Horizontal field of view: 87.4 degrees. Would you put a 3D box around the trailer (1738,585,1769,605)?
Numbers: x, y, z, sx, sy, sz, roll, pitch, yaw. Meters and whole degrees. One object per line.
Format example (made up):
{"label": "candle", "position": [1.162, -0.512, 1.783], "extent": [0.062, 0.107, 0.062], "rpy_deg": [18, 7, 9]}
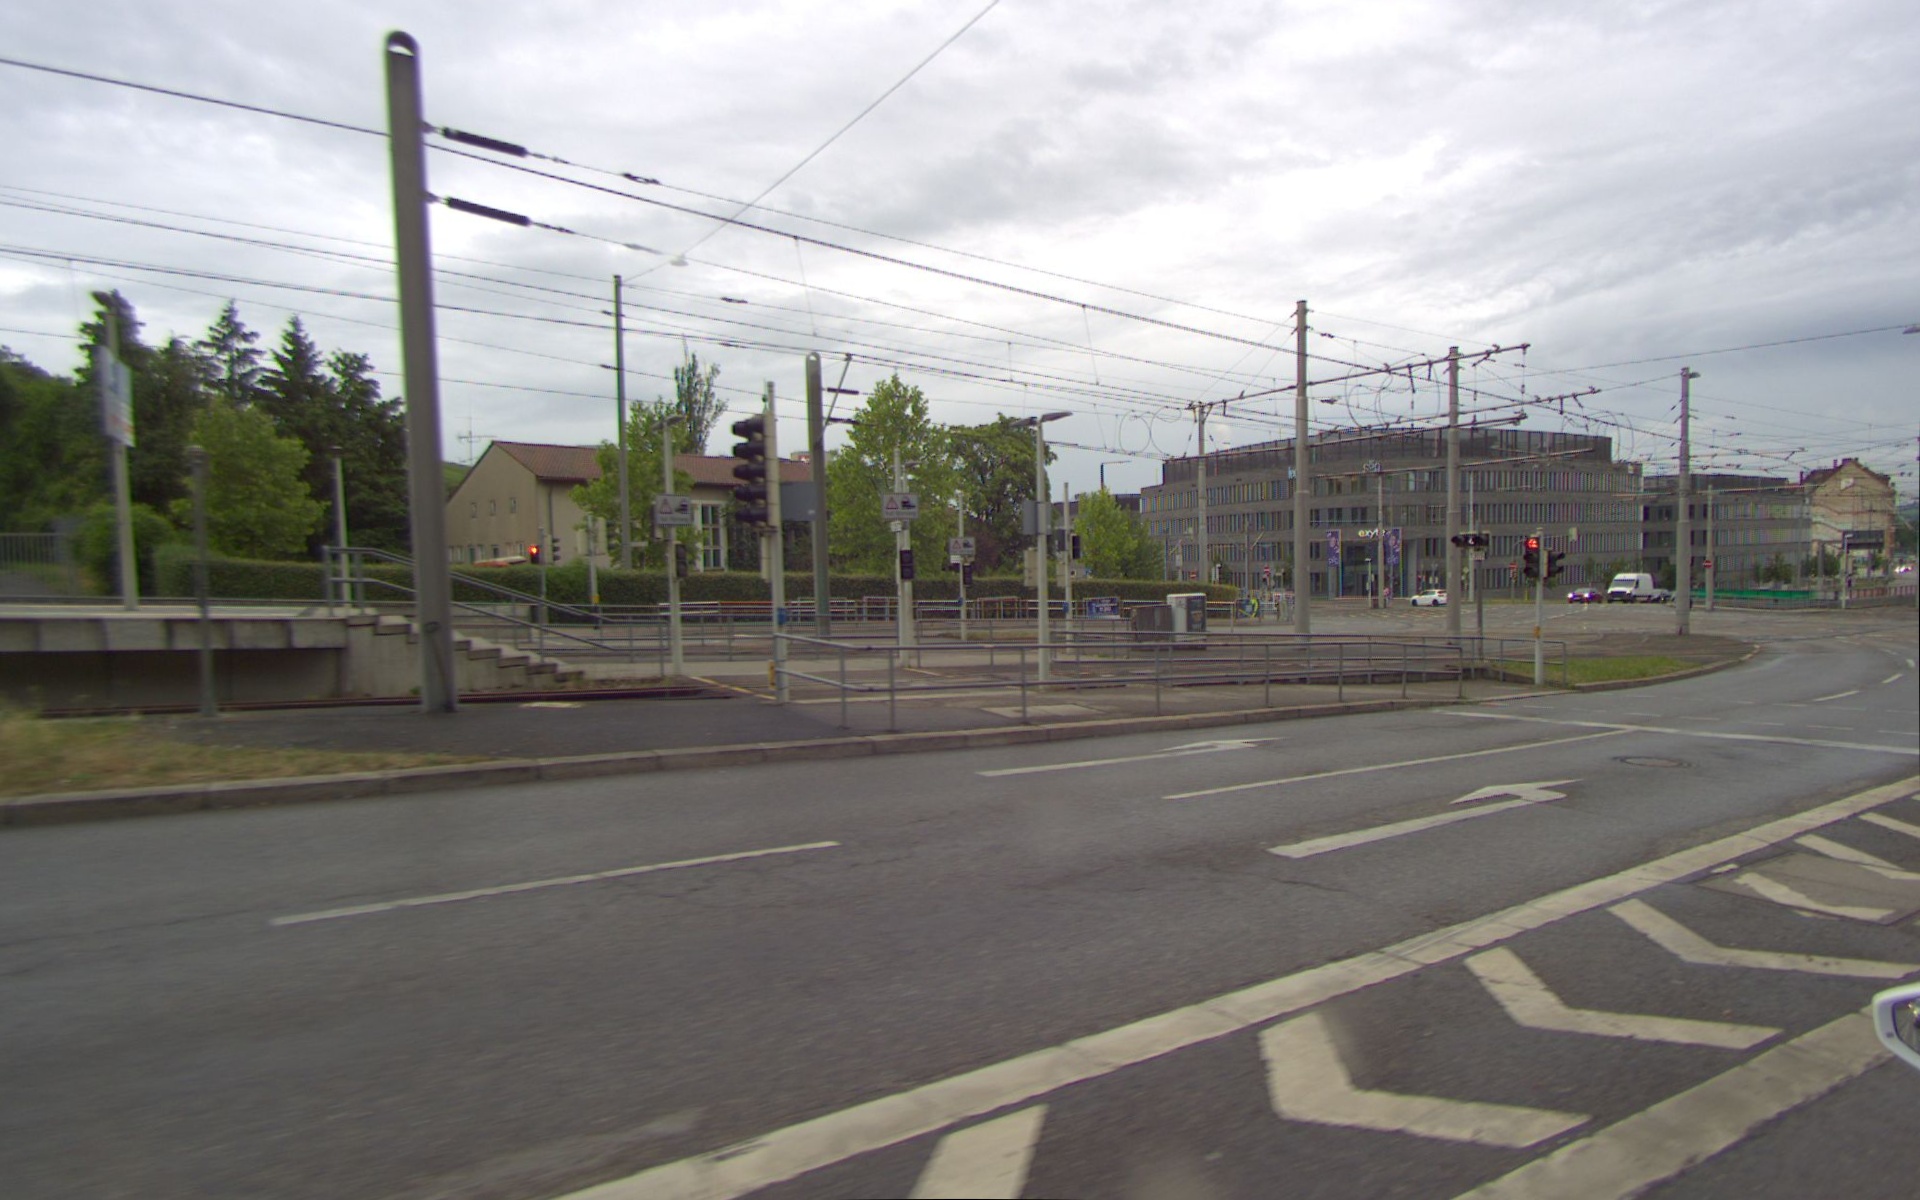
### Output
{"label": "trailer", "position": [87.205, -0.536, 110.349], "extent": [4.239, 2.101, 1.810], "rpy_deg": [2, 0, -40]}

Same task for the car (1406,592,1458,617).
{"label": "car", "position": [40.599, 0.383, 86.445], "extent": [1.966, 2.040, 3.989], "rpy_deg": [2, 0, -14]}

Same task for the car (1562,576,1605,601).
{"label": "car", "position": [55.801, -0.986, 89.850], "extent": [4.210, 2.181, 1.978], "rpy_deg": [1, 0, -38]}

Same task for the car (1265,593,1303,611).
{"label": "car", "position": [34.138, 0.179, 105.974], "extent": [1.966, 1.840, 3.989], "rpy_deg": [2, 0, -14]}

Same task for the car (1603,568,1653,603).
{"label": "car", "position": [57.998, -1.261, 87.145], "extent": [5.666, 2.869, 1.978], "rpy_deg": [-1, 0, -38]}

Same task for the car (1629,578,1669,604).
{"label": "car", "position": [64.834, -0.868, 94.533], "extent": [4.211, 2.181, 1.978], "rpy_deg": [4, -2, -38]}
